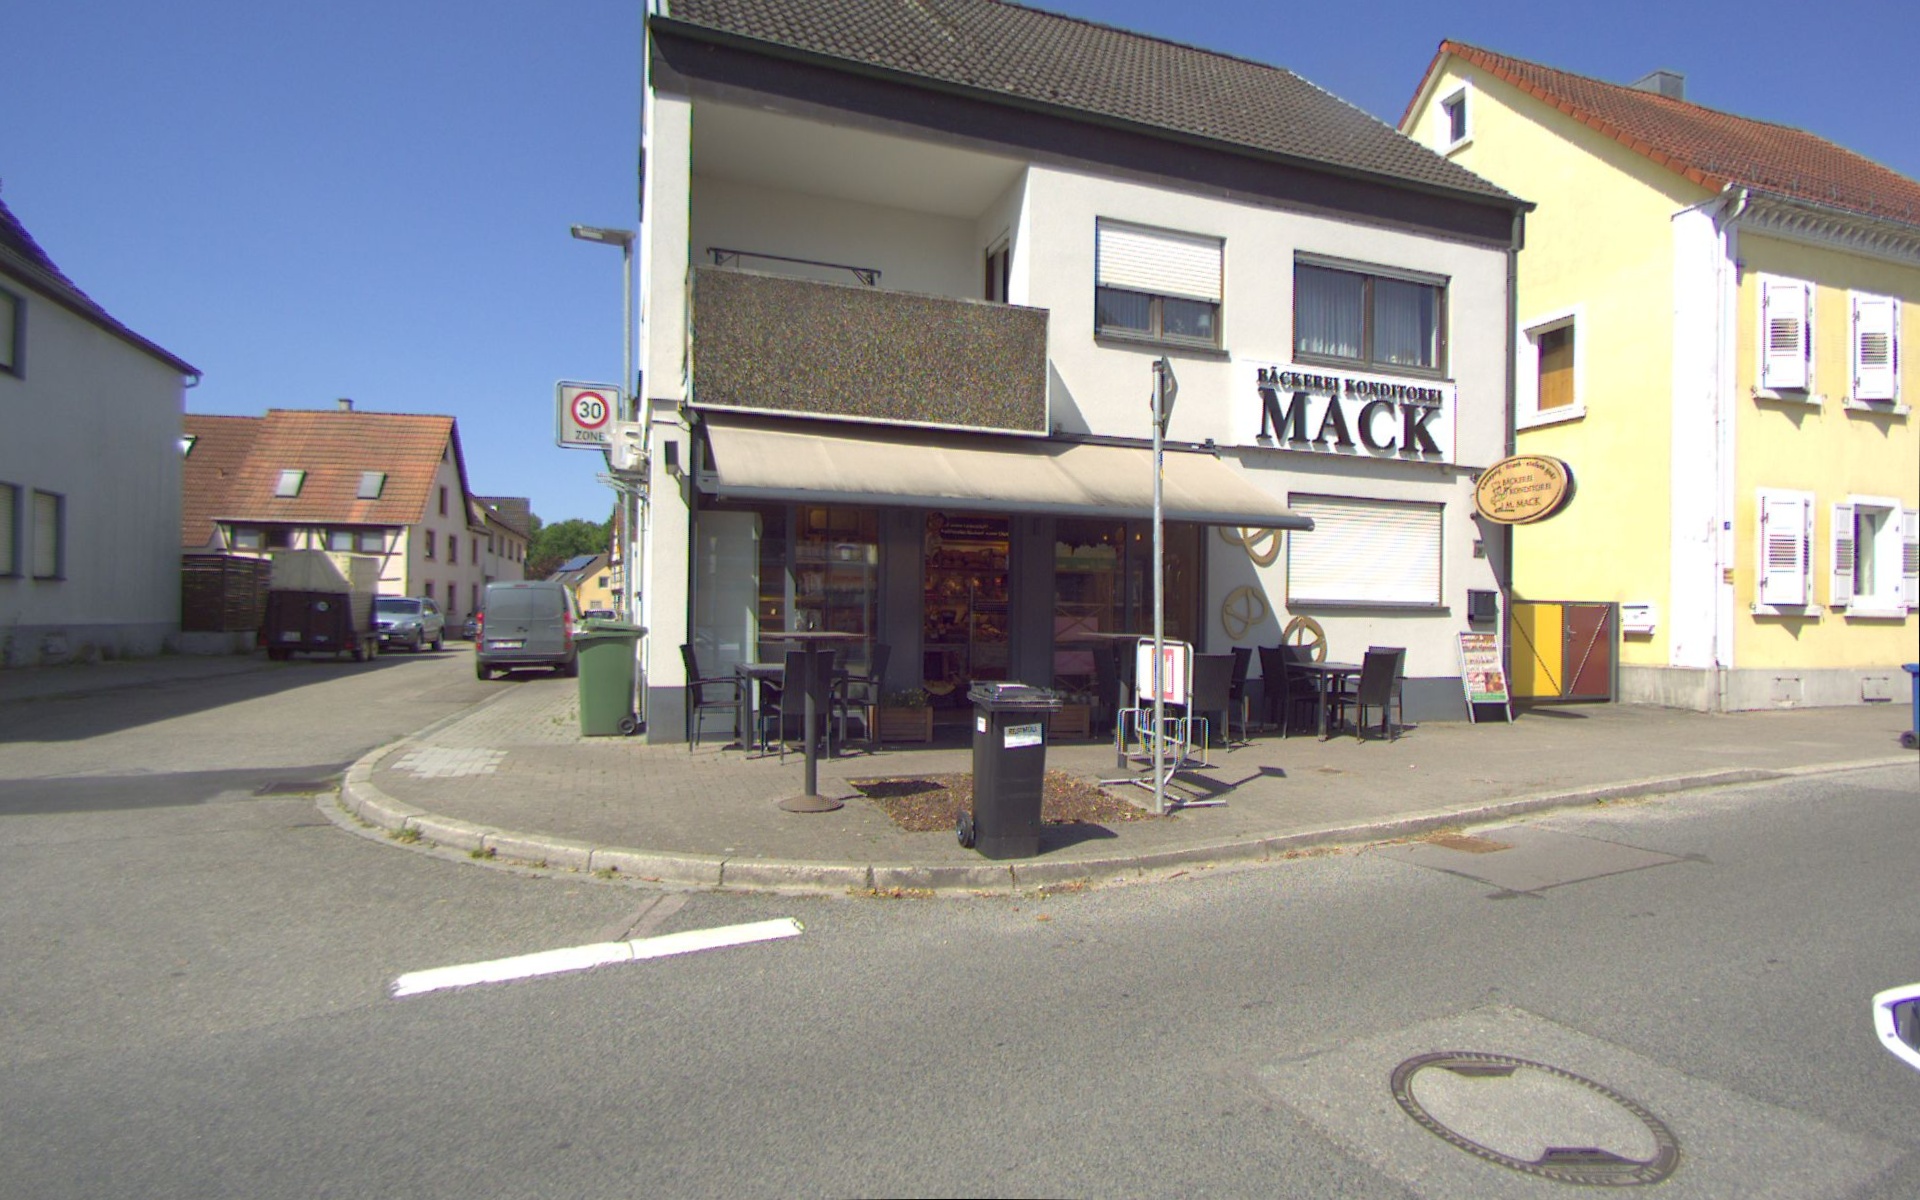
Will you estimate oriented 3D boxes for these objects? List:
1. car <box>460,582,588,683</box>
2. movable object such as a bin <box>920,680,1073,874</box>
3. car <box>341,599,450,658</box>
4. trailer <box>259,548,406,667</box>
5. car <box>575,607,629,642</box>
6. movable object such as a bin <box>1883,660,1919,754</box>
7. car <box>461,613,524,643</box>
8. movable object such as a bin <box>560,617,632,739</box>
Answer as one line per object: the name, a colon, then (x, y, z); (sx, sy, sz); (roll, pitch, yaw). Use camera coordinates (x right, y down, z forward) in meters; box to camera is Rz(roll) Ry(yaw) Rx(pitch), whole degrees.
car: (-8.499, 0.597, 19.889); (1.843, 1.782, 3.750); (1, 0, -16)
movable object such as a bin: (0.196, 0.944, 5.590); (0.606, 0.936, 0.639); (1, 0, -30)
car: (-17.355, 0.844, 31.109); (1.967, 1.706, 3.988); (1, -1, -15)
trailer: (-15.787, 0.208, 25.534); (2.024, 2.708, 3.987); (2, -1, -16)
car: (-15.423, 1.042, 43.473); (1.968, 1.416, 3.986); (1, -1, -17)
movable object such as a bin: (10.651, 1.170, 10.993); (0.606, 0.994, 0.640); (1, 0, -27)
car: (-21.586, 1.269, 46.526); (1.966, 1.283, 3.988); (1, -1, -15)
movable object such as a bin: (-3.578, 0.748, 9.917); (0.634, 1.153, 0.671); (1, 0, -18)
